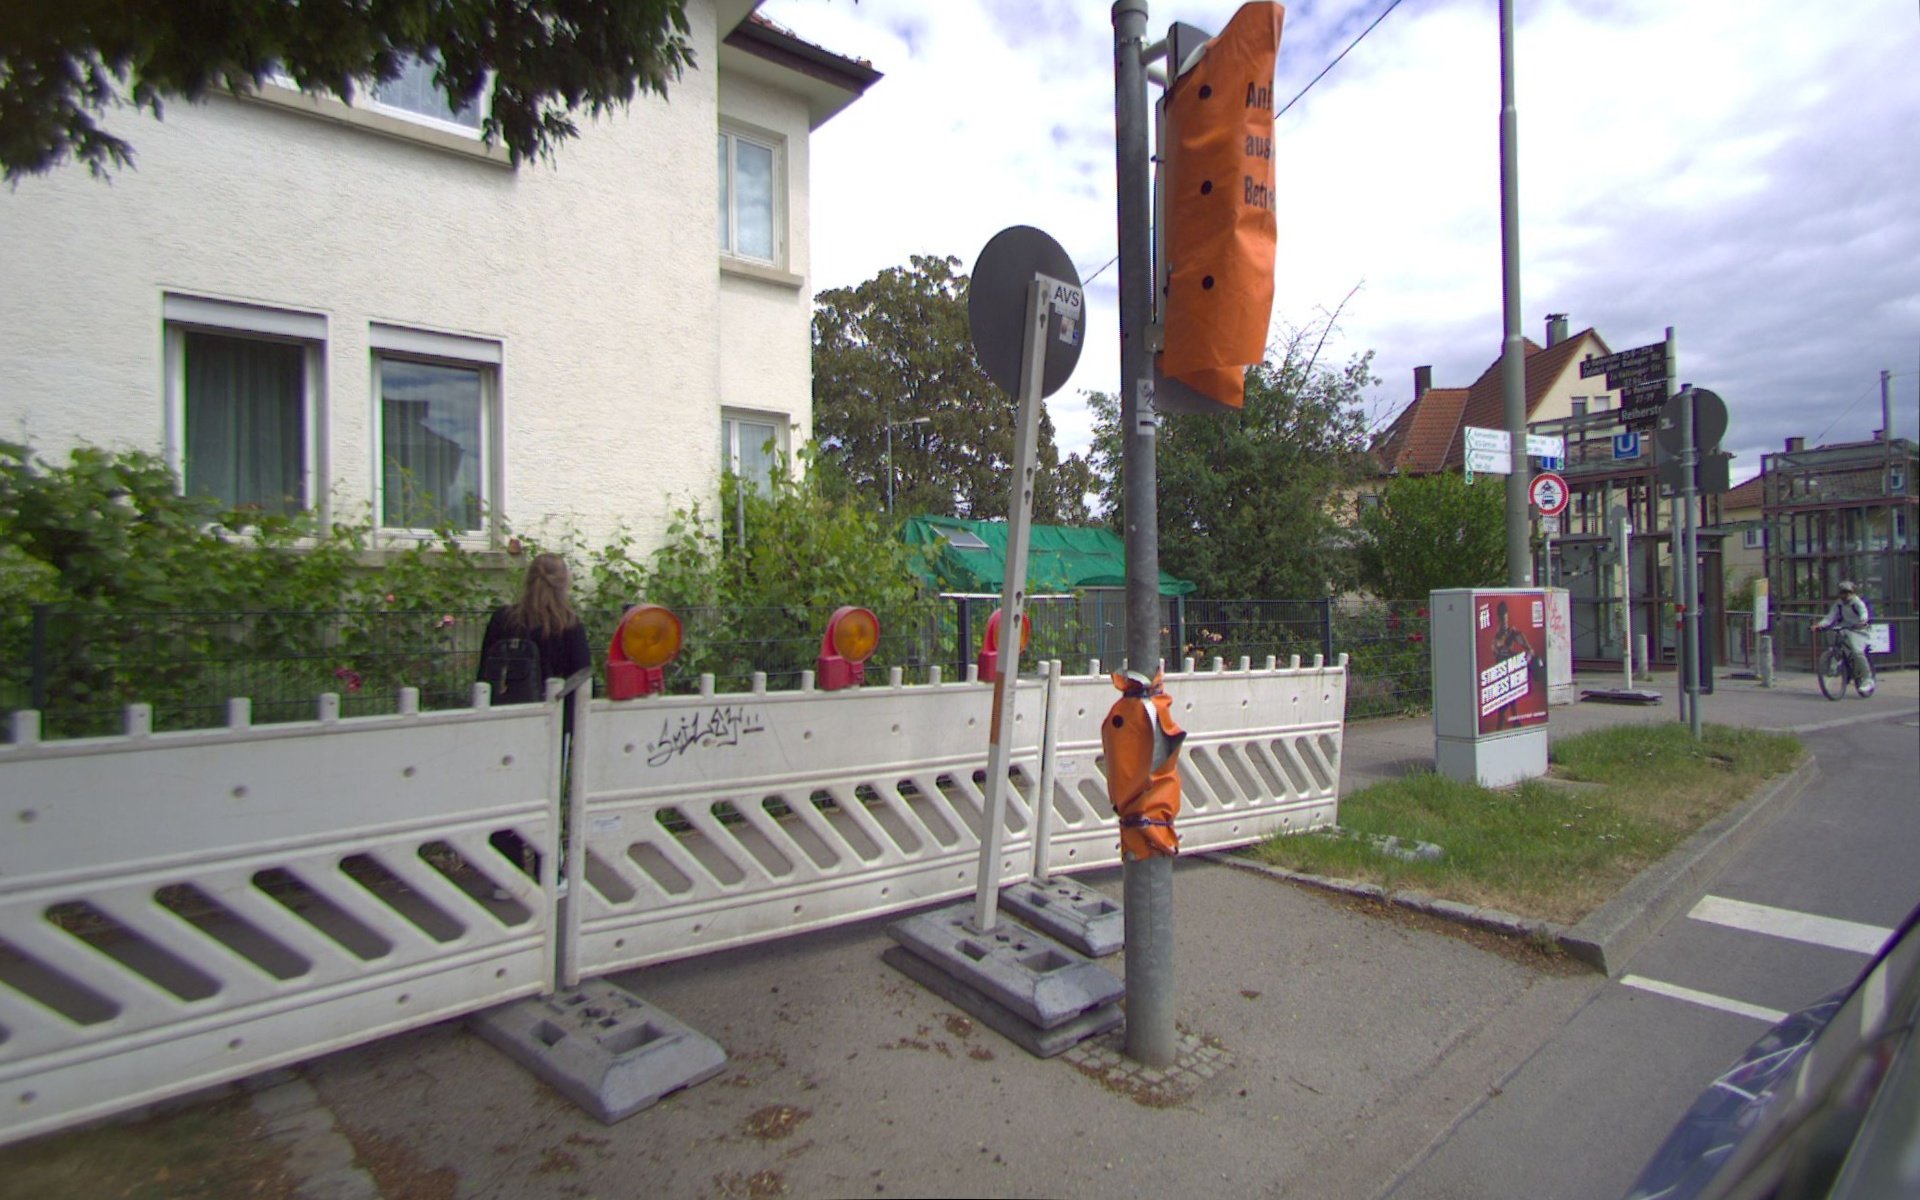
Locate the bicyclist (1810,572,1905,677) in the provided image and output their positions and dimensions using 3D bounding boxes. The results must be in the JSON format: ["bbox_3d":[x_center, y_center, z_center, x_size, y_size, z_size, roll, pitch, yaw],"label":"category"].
[{"bbox_3d":[12.731,0.337,14.349,1.155,1.434,0.659,1,-1,-30],"label":"bicyclist"}]

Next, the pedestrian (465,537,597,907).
[{"bbox_3d":[-1.947,0.511,4.653,0.511,1.559,0.637,0,0,-20],"label":"pedestrian"}]

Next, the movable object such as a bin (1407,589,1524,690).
[{"bbox_3d":[7.839,0.595,15.741,0.983,1.489,1.274,0,-1,-23],"label":"movable object such as a bin"}]

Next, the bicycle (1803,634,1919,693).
[{"bbox_3d":[12.802,0.879,14.342,2.020,0.763,0.638,1,-1,-30],"label":"bicycle"}]
